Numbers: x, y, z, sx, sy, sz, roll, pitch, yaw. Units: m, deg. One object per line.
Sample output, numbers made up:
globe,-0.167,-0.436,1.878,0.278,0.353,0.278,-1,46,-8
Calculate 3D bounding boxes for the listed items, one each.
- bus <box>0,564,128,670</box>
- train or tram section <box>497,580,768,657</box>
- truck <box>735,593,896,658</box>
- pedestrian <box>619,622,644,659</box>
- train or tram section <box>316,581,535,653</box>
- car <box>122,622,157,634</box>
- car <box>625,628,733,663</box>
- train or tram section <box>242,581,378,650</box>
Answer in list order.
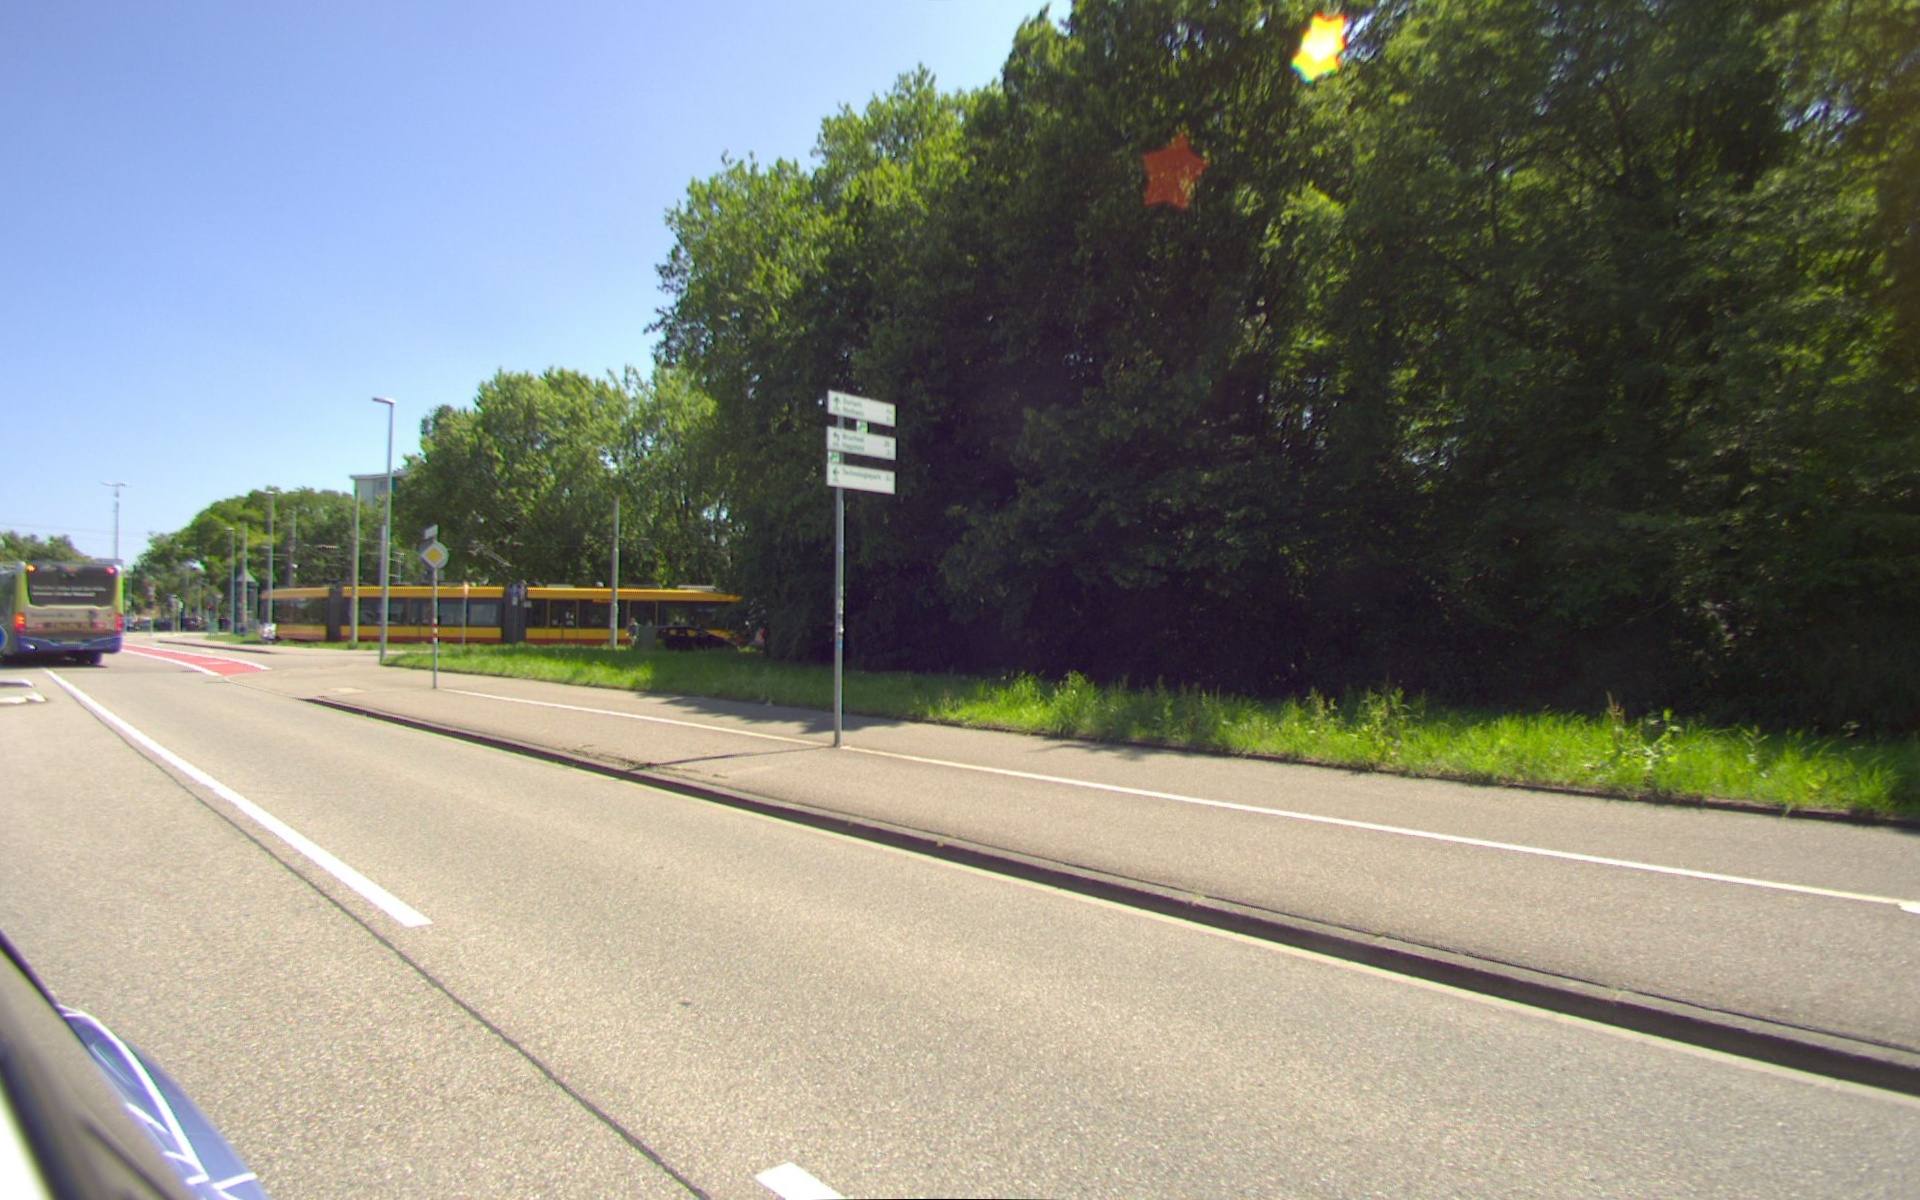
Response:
bus,-31.248,0.626,34.192,11.930,3.068,2.721,-1,-3,41
train or tram section,-17.691,1.098,55.753,13.816,3.788,3.033,2,-3,-12
truck,-6.872,1.232,48.628,7.219,2.932,2.574,2,-2,-35
pedestrian,-15.625,1.924,48.143,0.852,1.723,0.801,-1,-2,31
train or tram section,-29.524,0.940,55.930,11.504,3.788,3.012,0,-3,14
car,-106.622,3.647,131.516,3.437,1.439,1.587,1,-4,-40
car,-12.321,1.977,44.547,4.242,1.428,1.671,2,-1,-36
train or tram section,-39.514,1.038,61.231,12.981,3.788,2.986,-1,-4,40
